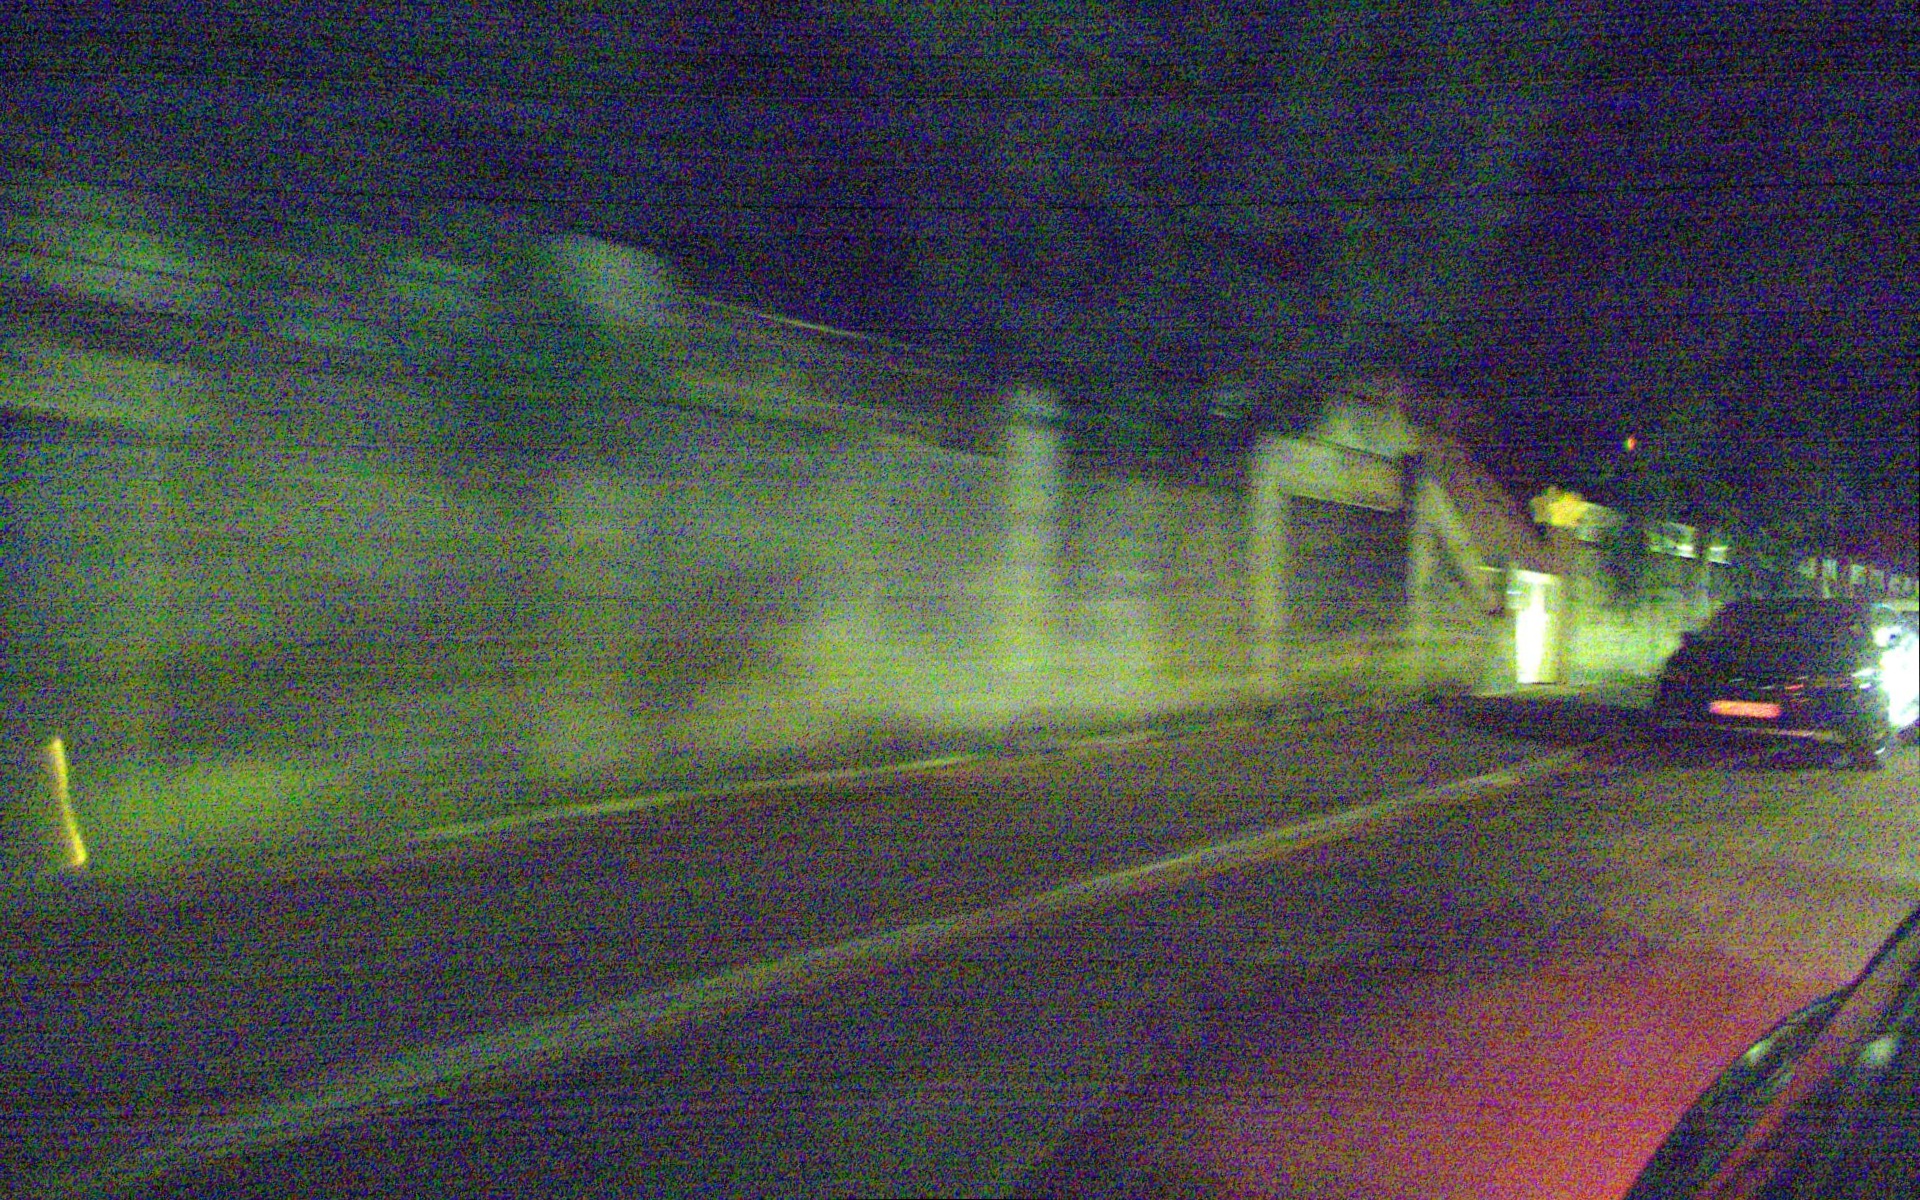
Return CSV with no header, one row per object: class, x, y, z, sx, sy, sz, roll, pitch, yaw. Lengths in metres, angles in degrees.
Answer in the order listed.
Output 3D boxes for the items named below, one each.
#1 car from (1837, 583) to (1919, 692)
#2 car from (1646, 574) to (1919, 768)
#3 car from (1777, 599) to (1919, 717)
car,17.396,0.672,18.233,4.673,1.784,1.722,2,-1,-40
car,9.274,0.610,10.920,4.535,1.685,1.836,0,0,-39
car,13.375,0.774,14.625,4.182,1.490,1.746,1,-2,-41
